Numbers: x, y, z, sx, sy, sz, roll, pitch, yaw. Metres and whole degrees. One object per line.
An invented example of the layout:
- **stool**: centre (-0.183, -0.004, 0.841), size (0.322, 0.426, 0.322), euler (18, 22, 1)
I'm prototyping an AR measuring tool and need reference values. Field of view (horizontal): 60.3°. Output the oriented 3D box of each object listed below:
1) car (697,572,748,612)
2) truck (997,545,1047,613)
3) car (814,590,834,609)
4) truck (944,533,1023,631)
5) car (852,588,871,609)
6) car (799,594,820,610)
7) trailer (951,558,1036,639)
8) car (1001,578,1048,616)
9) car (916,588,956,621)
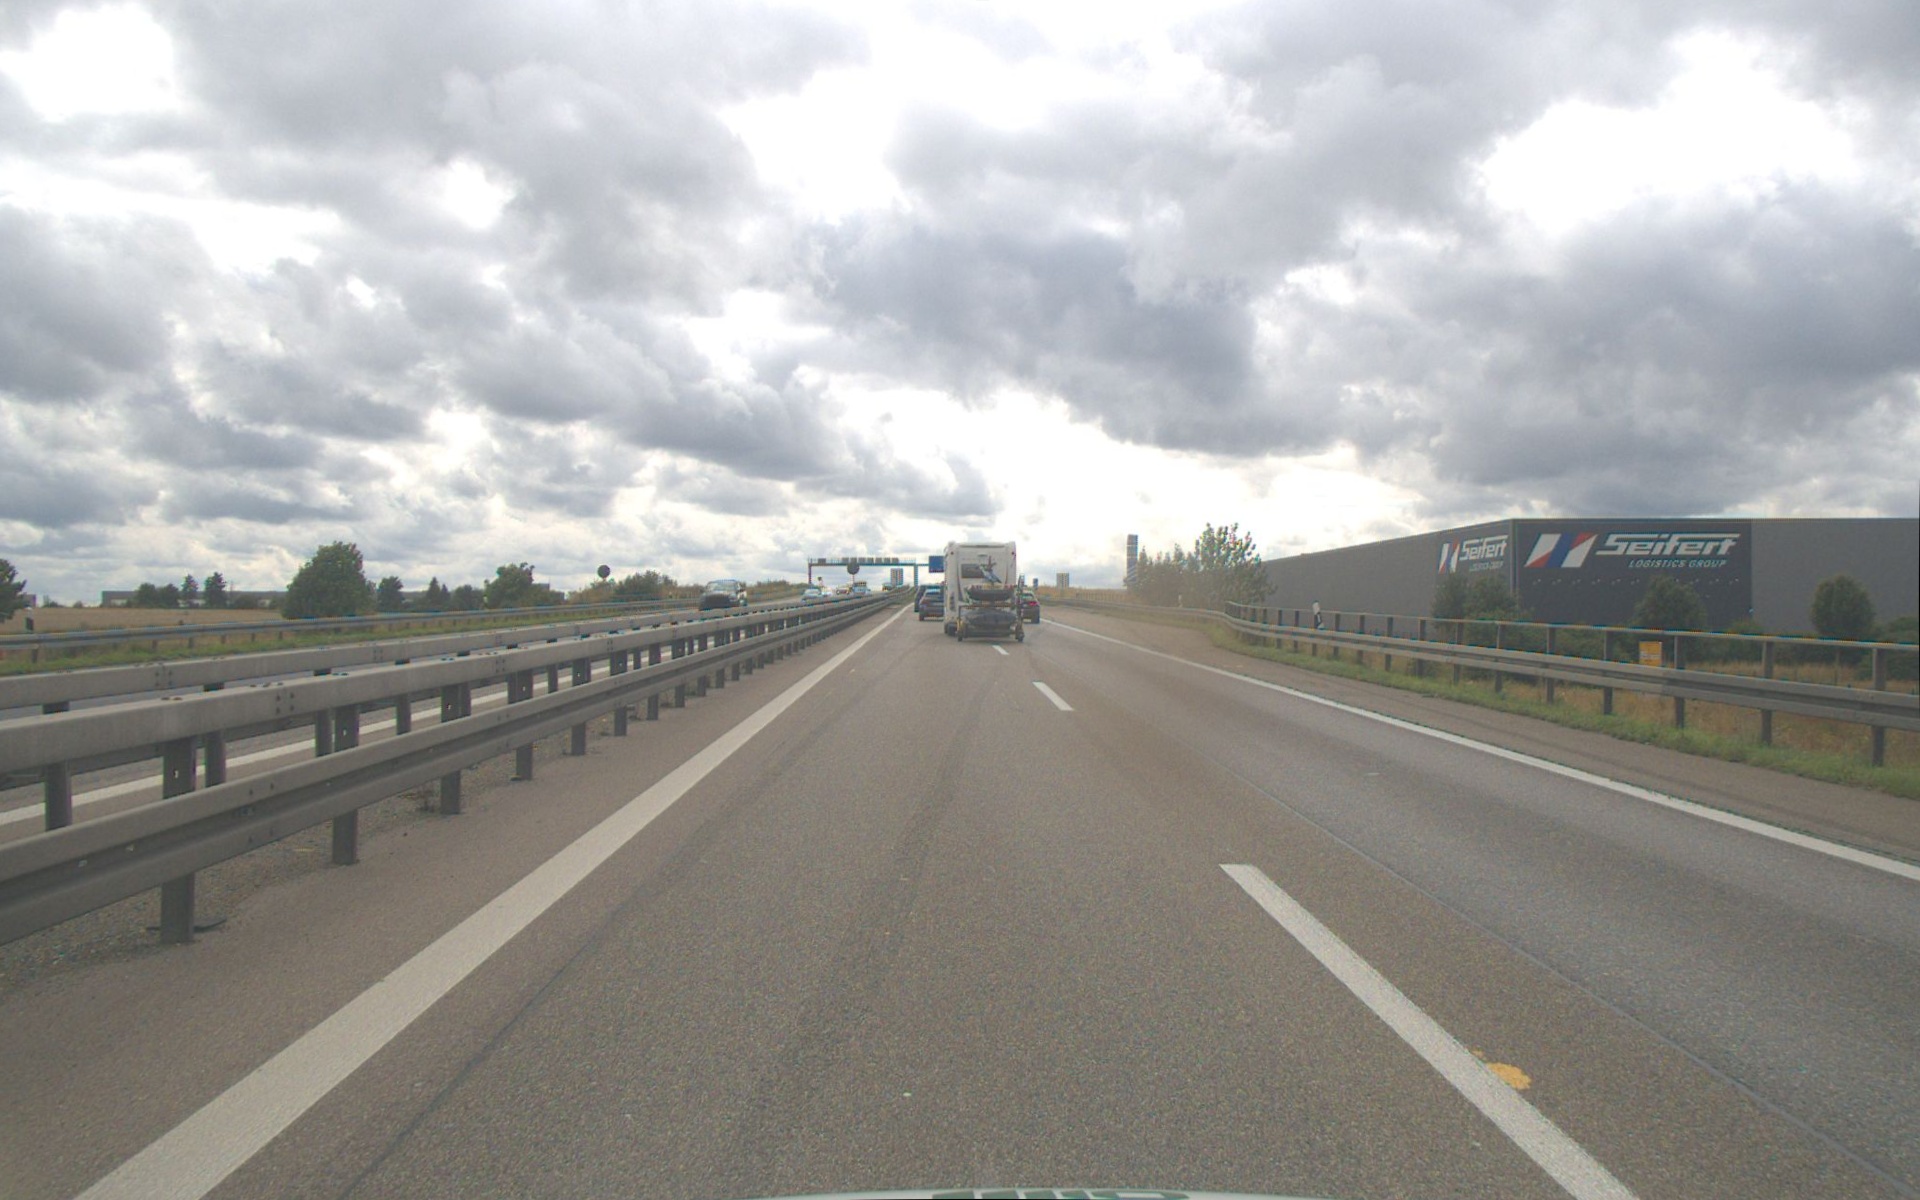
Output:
- **car**: centre (-12.611, -0.449, 88.126), size (1.953, 2.049, 6.100), euler (0, 1, -1)
- **truck**: centre (4.332, -1.407, 117.019), size (3.180, 4.605, 7.064), euler (0, -1, -1)
- **car**: centre (-15.123, -0.009, 184.070), size (1.954, 2.049, 4.381), euler (0, -1, -3)
- **truck**: centre (0.711, -0.527, 54.257), size (2.431, 3.002, 5.814), euler (0, -1, 0)
- **car**: centre (-10.273, -0.166, 172.277), size (1.954, 2.049, 4.382), euler (0, 1, -3)
- **car**: centre (-14.473, 0.167, 159.503), size (1.721, 1.494, 4.558), euler (0, 1, -2)
- **trailer**: centre (0.976, -0.012, 46.946), size (2.290, 2.174, 4.001), euler (0, -1, 1)
- **car**: centre (2.912, -0.119, 75.368), size (1.844, 1.649, 3.999), euler (0, -1, -1)
- **car**: centre (-1.095, 0.223, 77.493), size (1.710, 1.478, 4.001), euler (0, -1, 2)
